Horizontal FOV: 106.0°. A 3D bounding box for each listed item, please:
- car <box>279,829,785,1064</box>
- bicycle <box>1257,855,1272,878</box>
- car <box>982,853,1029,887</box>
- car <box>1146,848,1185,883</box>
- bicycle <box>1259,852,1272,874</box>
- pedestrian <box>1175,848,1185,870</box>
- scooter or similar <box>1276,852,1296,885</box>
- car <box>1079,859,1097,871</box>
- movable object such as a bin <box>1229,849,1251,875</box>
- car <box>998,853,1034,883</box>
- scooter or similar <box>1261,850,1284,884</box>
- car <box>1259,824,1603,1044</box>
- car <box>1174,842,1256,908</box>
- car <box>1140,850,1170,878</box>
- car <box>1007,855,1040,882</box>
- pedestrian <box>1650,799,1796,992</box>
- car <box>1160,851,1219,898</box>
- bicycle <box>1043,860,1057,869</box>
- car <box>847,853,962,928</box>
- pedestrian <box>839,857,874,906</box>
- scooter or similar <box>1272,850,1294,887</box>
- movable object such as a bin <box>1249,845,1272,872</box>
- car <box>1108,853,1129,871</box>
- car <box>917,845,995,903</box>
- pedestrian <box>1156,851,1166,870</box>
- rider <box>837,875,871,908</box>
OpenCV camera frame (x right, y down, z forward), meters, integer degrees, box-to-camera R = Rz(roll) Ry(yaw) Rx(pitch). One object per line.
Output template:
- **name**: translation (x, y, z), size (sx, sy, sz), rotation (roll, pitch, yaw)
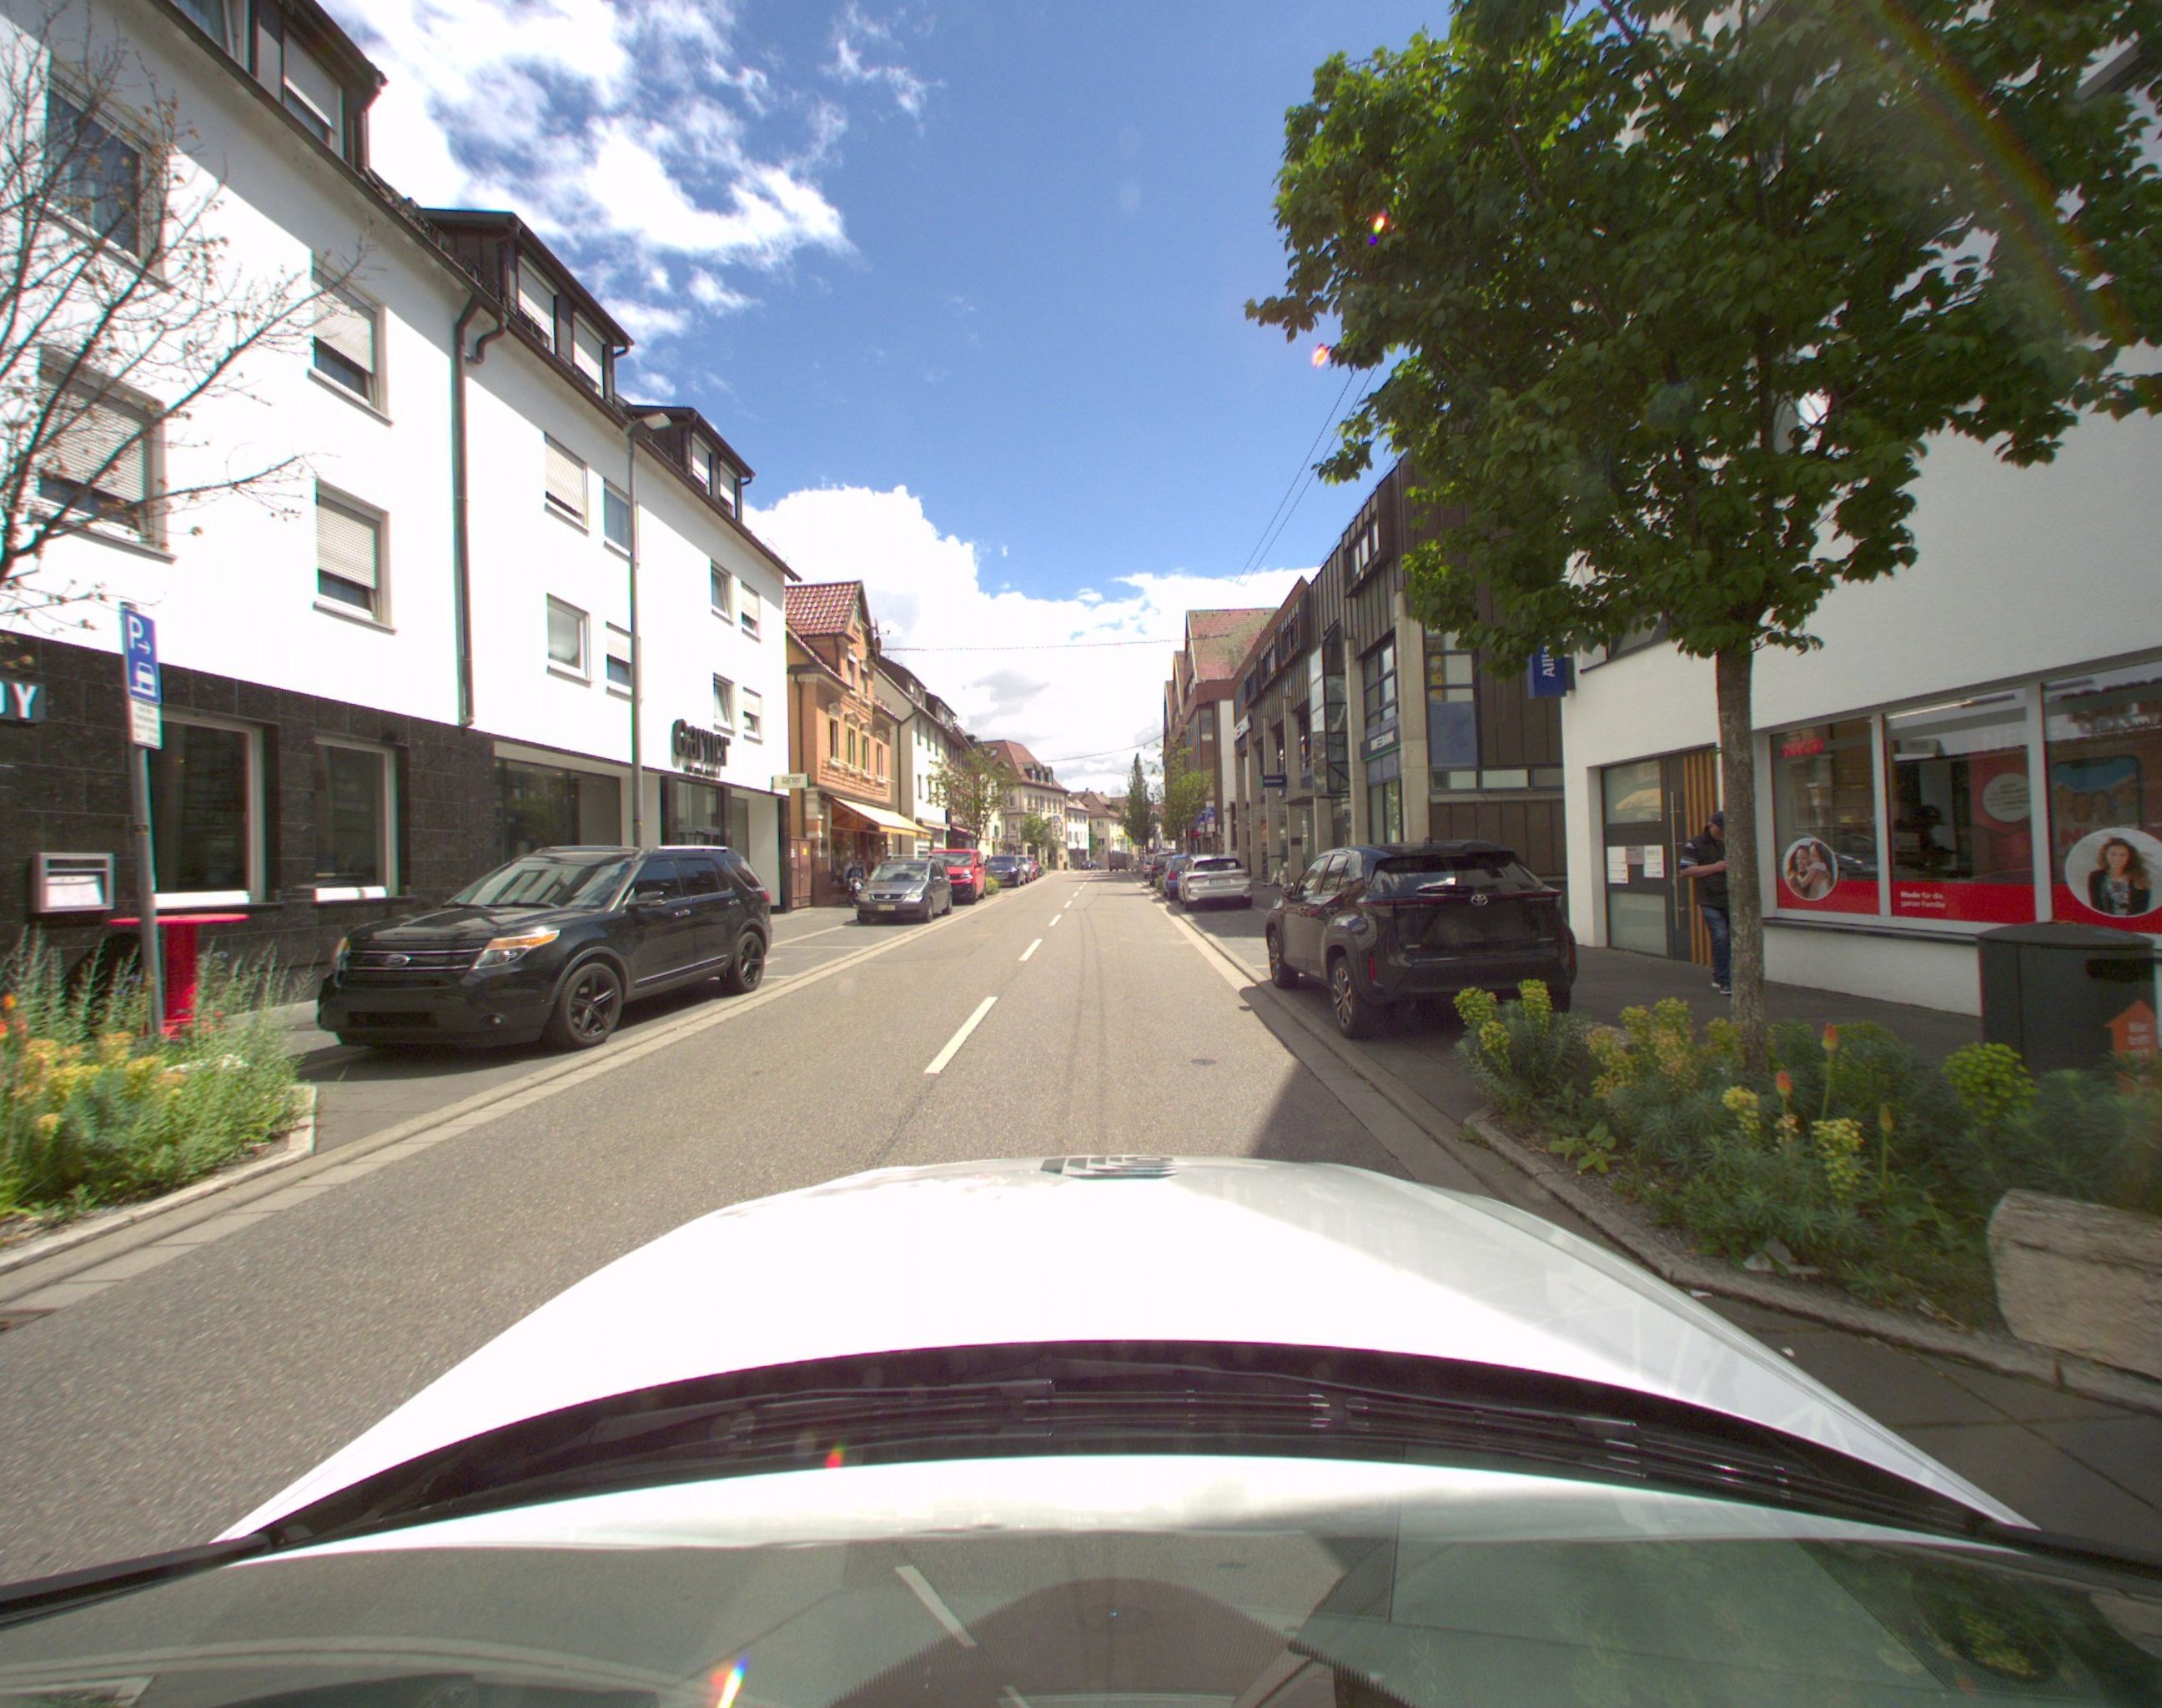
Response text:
- **car**: translation (-5.005, 0.721, 8.477), size (1.808, 1.755, 4.674), rotation (0, -1, 5)
- **bicycle**: translation (9.092, 0.637, 40.371), size (0.423, 1.119, 1.742), rotation (0, -1, 4)
- **car**: translation (-3.822, 0.789, 41.853), size (1.792, 1.598, 4.391), rotation (-1, 0, 2)
- **car**: translation (3.973, 0.525, 38.834), size (1.603, 1.532, 3.798), rotation (-3, 0, 3)
- **bicycle**: translation (9.694, 0.488, 42.829), size (0.423, 1.119, 1.503), rotation (0, -1, 4)
- **pedestrian**: translation (8.028, 0.402, 65.909), size (0.734, 1.814, 0.712), rotation (0, -1, 2)
- **scooter or similar**: translation (7.979, 0.558, 31.781), size (0.420, 1.246, 1.562), rotation (0, -1, 2)
- **car**: translation (0.998, 1.486, 110.195), size (1.613, 1.486, 3.819), rotation (0, -1, 13)
- **movable object such as a bin**: translation (9.242, 0.474, 47.324), size (1.137, 1.528, 1.033), rotation (0, -1, 4)
- **car**: translation (-3.774, 0.802, 47.725), size (1.794, 1.604, 4.349), rotation (-2, 0, -1)
- **scooter or similar**: translation (7.212, 0.497, 30.681), size (0.405, 1.246, 1.321), rotation (0, -1, -8)
- **car**: translation (2.964, 0.603, 7.925), size (1.714, 1.577, 4.111), rotation (0, -1, 2)
- **car**: translation (3.615, 0.553, 22.593), size (1.714, 1.577, 4.432), rotation (-3, -1, 3)
- **car**: translation (4.592, 0.600, 50.769), size (1.603, 1.495, 3.798), rotation (-5, 0, 3)
- **car**: translation (-3.700, 0.895, 53.005), size (1.793, 1.604, 4.218), rotation (-2, 0, 0)
- **pedestrian**: translation (6.145, 0.386, 7.845), size (0.738, 1.737, 0.757), rotation (-2, -1, 2)
- **car**: translation (3.684, 0.683, 28.180), size (1.714, 1.494, 4.112), rotation (0, -1, 3)
- **bicycle**: translation (-3.738, 1.226, 97.656), size (1.619, 1.031, 0.570), rotation (0, -1, 17)
- **car**: translation (-4.509, 0.889, 21.489), size (1.808, 1.755, 4.467), rotation (0, -1, 3)
- **pedestrian**: translation (-7.357, 0.885, 26.703), size (0.799, 1.574, 0.783), rotation (0, -1, 18)
- **scooter or similar**: translation (7.144, 0.510, 28.871), size (0.420, 1.246, 1.562), rotation (0, -1, 2)
- **movable object such as a bin**: translation (10.404, 0.248, 47.243), size (1.137, 1.528, 1.033), rotation (0, -1, 4)
- **car**: translation (3.763, 0.815, 82.171), size (2.033, 1.848, 5.000), rotation (0, -1, 1)
- **car**: translation (-4.351, 0.692, 29.063), size (1.809, 1.889, 4.844), rotation (0, -1, 3)
- **pedestrian**: translation (6.711, 0.556, 68.523), size (0.781, 1.615, 0.800), rotation (0, -1, 2)
- **rider**: translation (-7.270, 1.186, 26.123), size (0.797, 1.013, 0.710), rotation (0, -1, 18)
